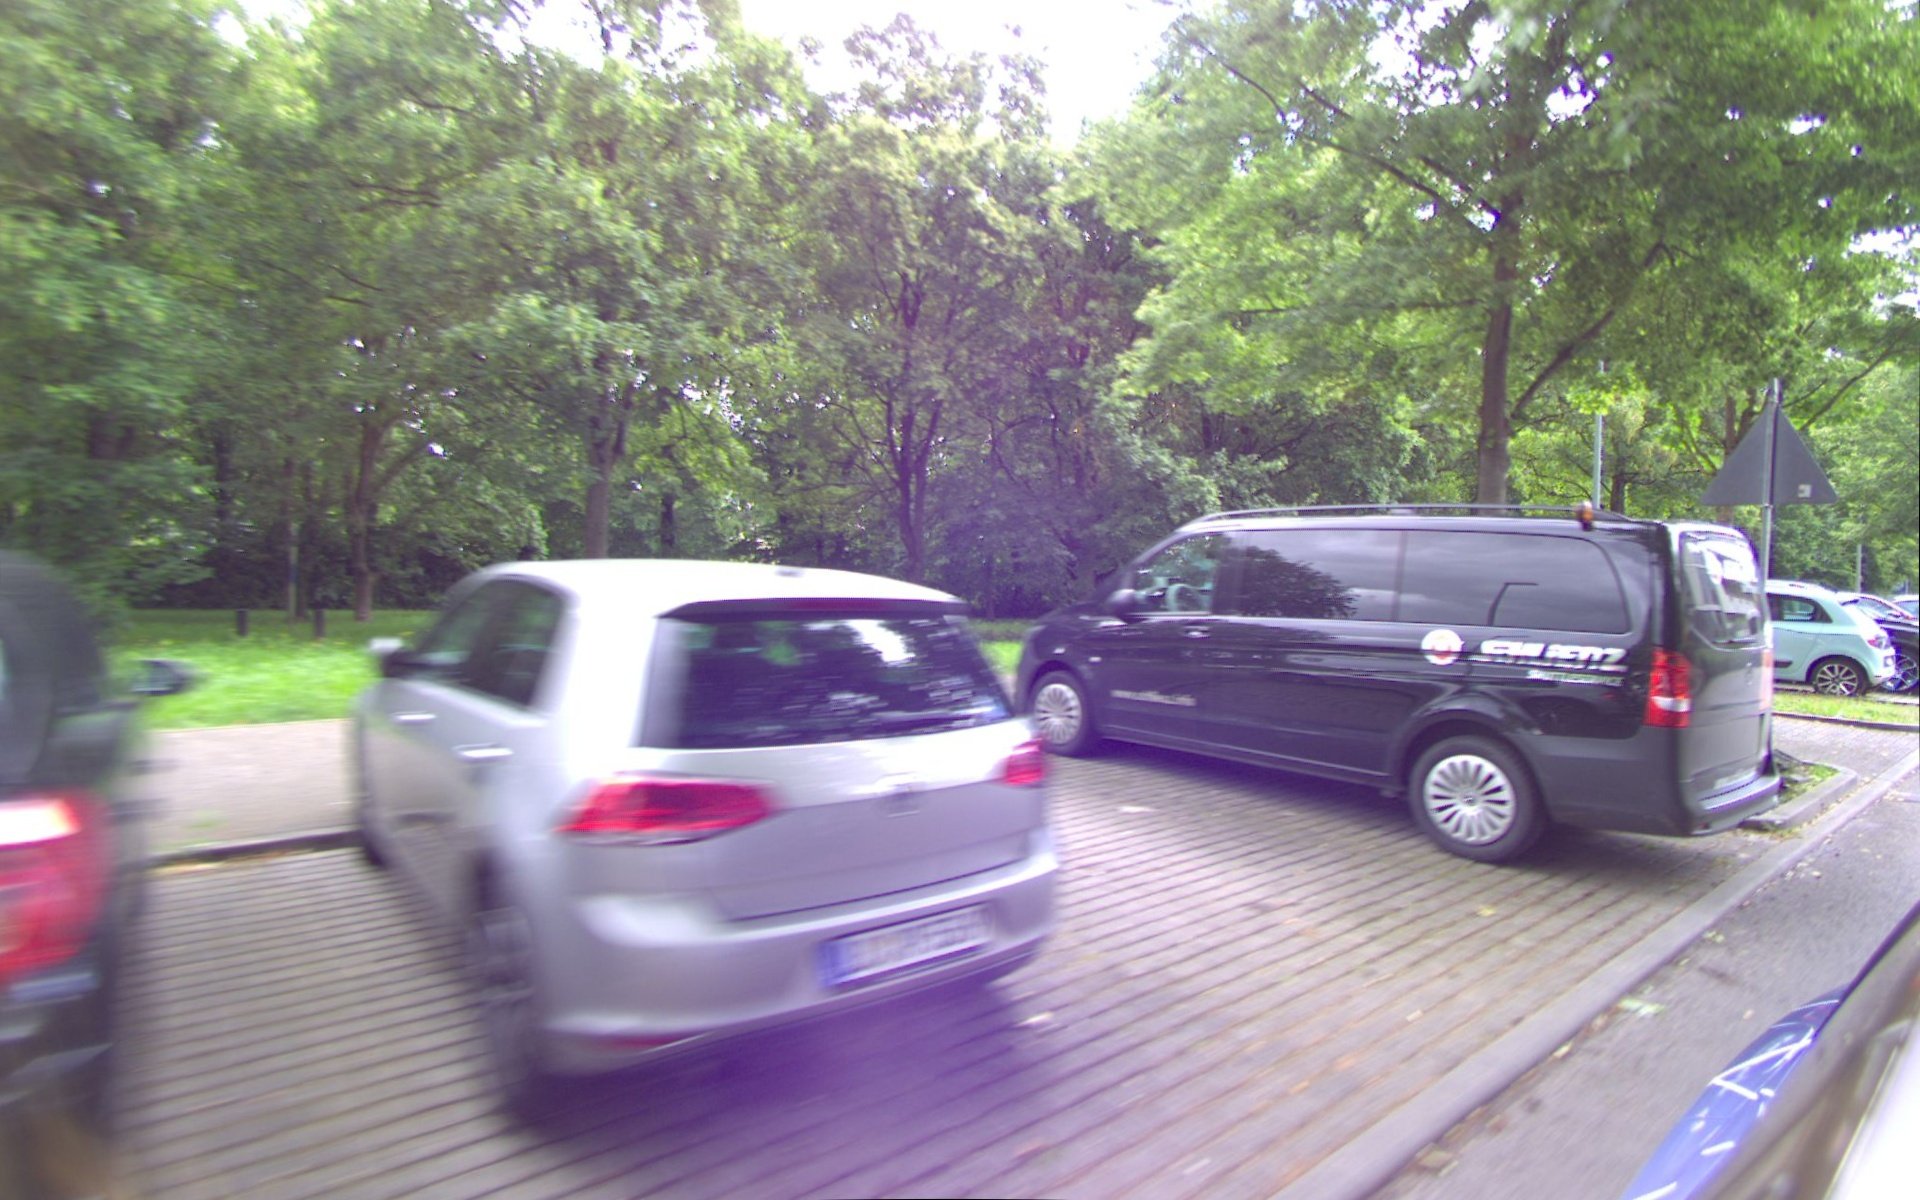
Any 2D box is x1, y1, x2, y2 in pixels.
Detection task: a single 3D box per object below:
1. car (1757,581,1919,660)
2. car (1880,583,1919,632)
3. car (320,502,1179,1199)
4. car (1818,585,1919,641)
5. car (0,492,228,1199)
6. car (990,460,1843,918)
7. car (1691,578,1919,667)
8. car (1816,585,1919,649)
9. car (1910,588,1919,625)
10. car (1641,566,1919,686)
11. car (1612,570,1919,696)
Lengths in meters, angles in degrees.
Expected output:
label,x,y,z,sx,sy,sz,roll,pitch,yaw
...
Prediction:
label,x,y,z,sx,sy,sz,roll,pitch,yaw
car,20.200,0.431,22.160,1.820,1.535,4.078,0,3,-43
car,32.221,0.304,32.358,1.846,1.534,3.853,0,3,-37
car,-1.281,0.448,4.059,1.761,1.529,3.973,0,4,-38
car,27.695,0.403,28.966,1.813,1.472,4.497,0,3,-39
car,-2.991,0.489,2.572,1.731,1.529,3.974,0,3,-37
car,2.645,0.240,7.100,2.126,2.038,4.969,0,3,-38
car,17.935,0.431,20.519,1.946,1.536,4.650,1,2,-38
car,24.134,0.458,25.131,1.818,1.474,4.083,0,3,-39
car,39.784,0.362,39.375,1.763,1.439,4.011,0,3,-45
car,14.318,0.379,16.921,2.045,1.696,4.426,1,3,-40
car,12.243,0.418,15.479,1.764,1.593,3.388,1,2,-39
